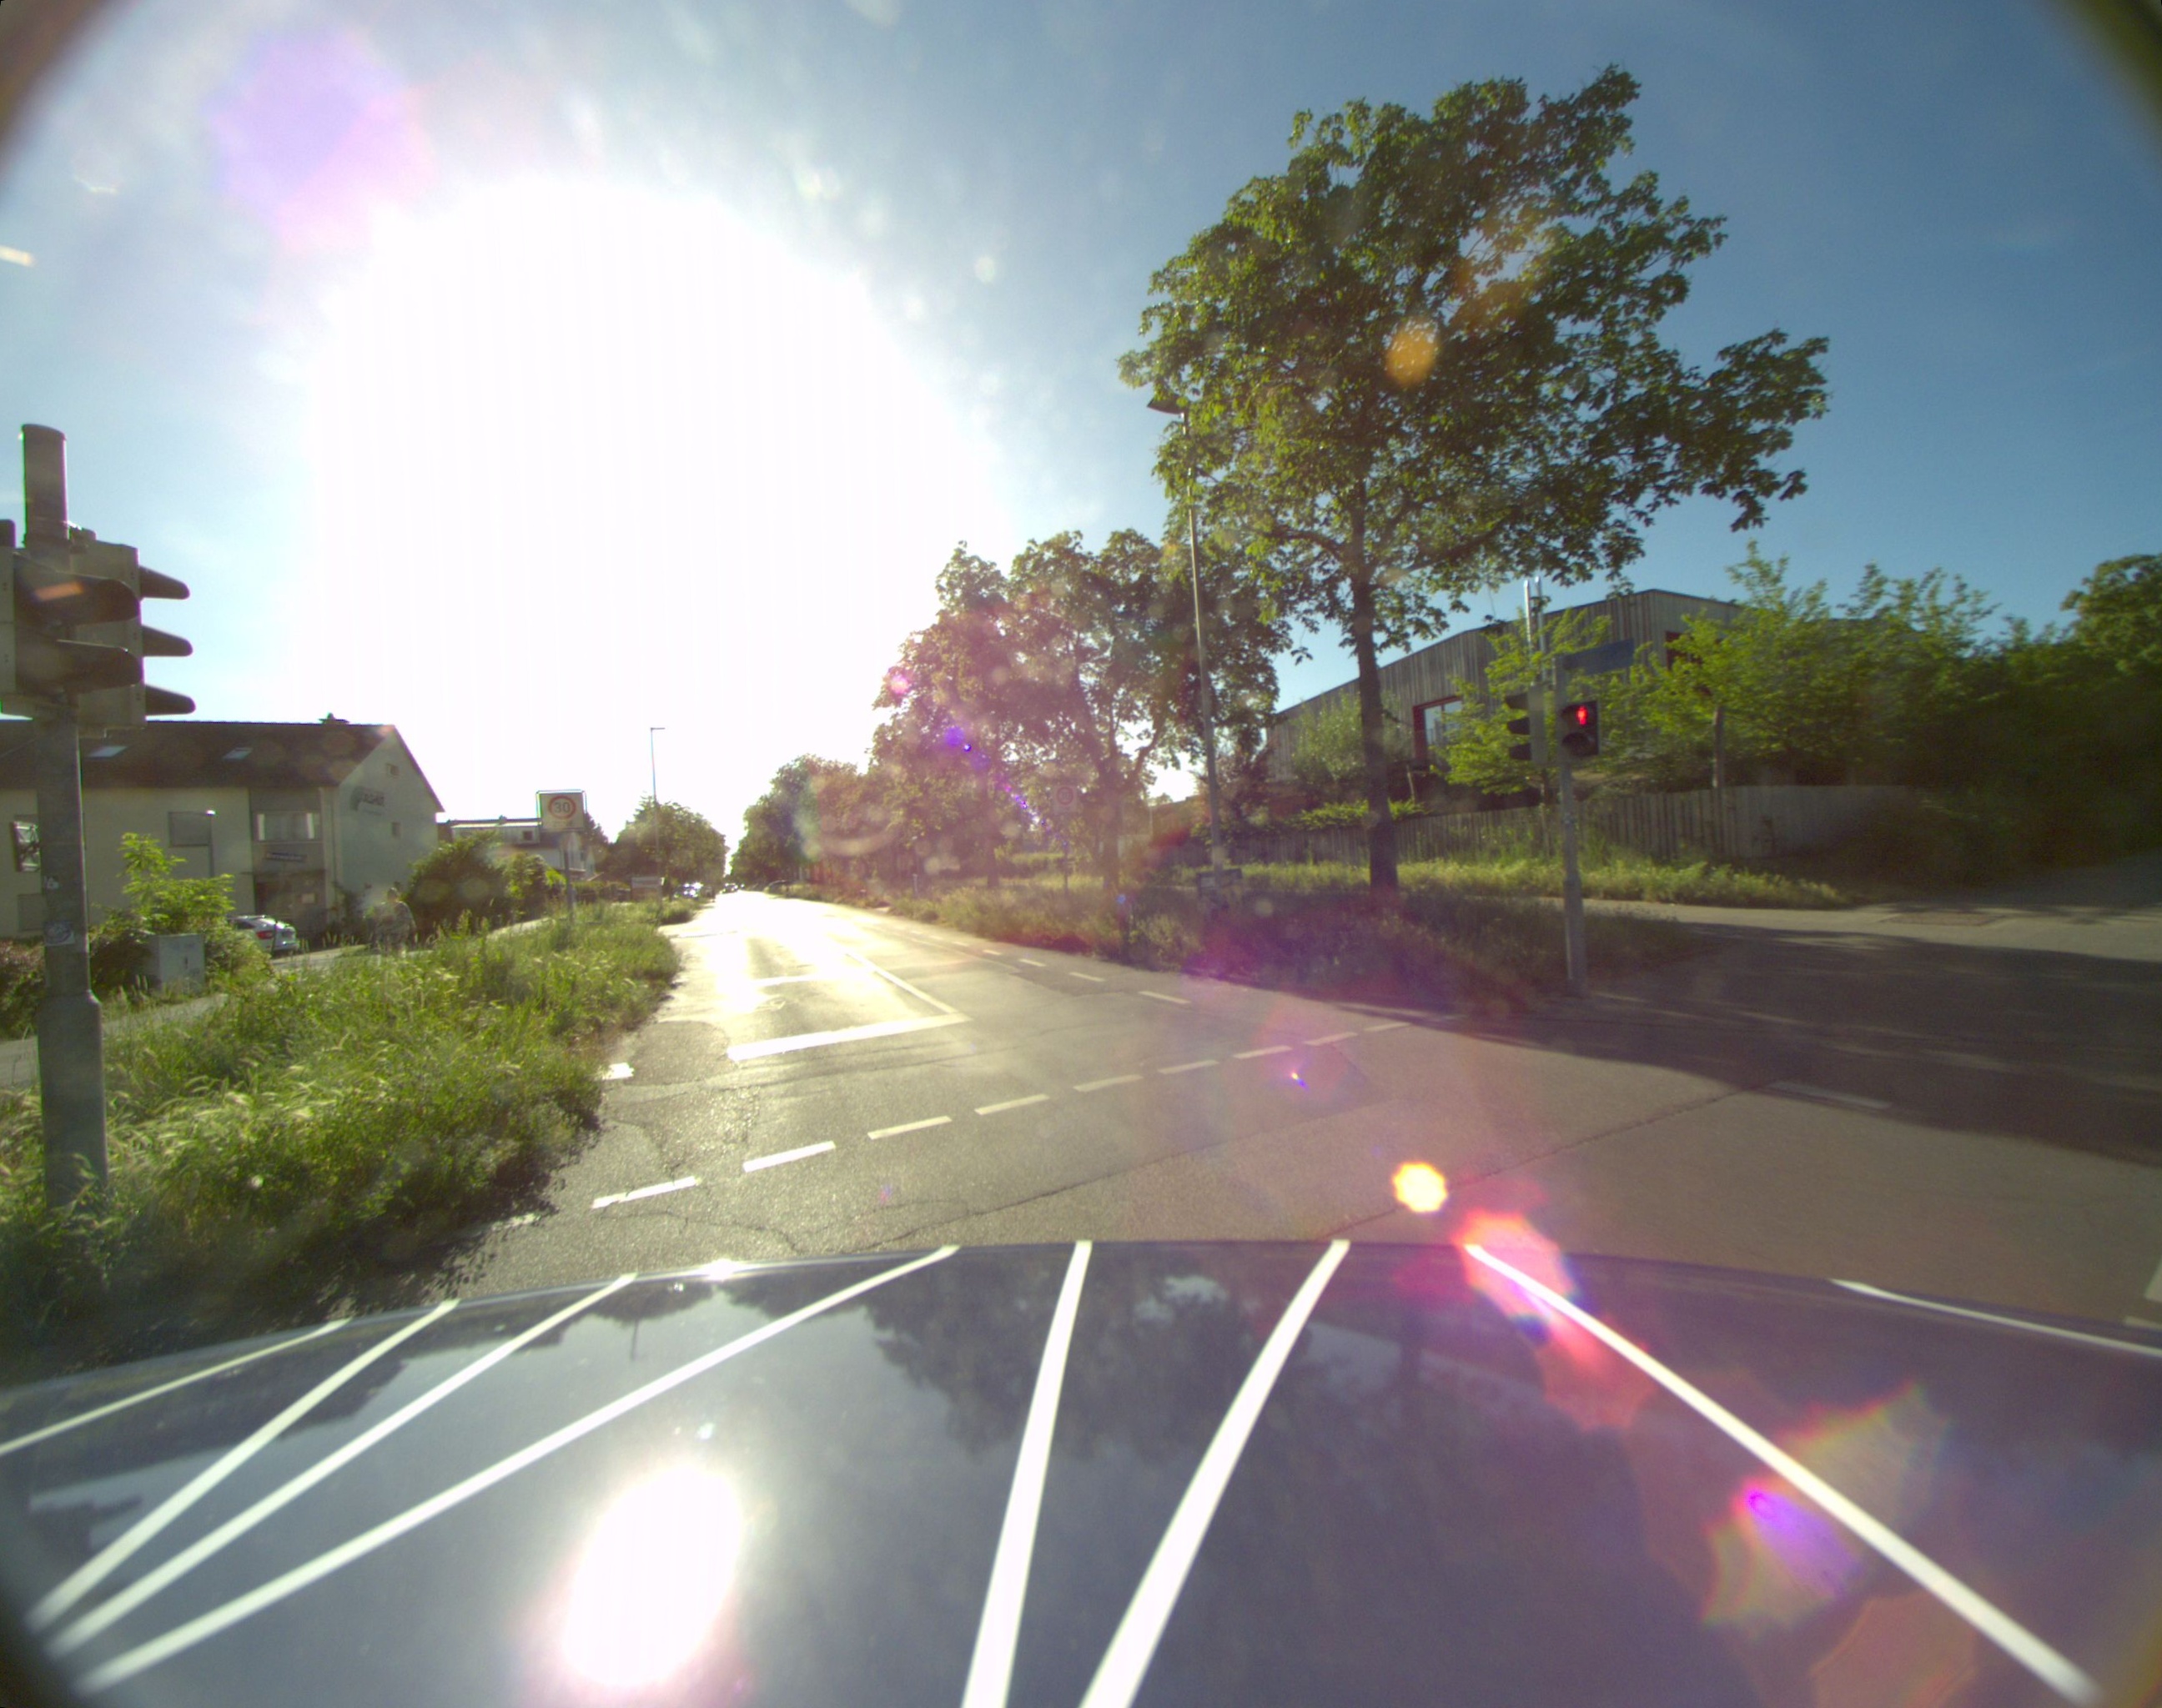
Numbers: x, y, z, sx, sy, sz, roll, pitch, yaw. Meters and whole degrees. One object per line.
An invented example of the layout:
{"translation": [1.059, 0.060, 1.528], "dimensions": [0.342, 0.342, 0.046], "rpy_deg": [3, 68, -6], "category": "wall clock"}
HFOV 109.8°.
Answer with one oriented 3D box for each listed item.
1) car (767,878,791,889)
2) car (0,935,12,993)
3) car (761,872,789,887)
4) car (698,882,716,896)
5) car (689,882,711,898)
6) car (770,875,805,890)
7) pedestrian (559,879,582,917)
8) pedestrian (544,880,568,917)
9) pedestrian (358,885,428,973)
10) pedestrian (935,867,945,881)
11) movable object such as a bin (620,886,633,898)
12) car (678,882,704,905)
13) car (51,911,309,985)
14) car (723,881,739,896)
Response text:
{"translation": [-57.289, 5.585, 144.037], "dimensions": [4.004, 1.740, 1.887], "rpy_deg": [-5, 1, -26], "category": "car"}
{"translation": [-29.860, 2.978, 18.527], "dimensions": [3.960, 1.493, 1.803], "rpy_deg": [-4, -1, -25], "category": "car"}
{"translation": [-64.055, 5.266, 159.149], "dimensions": [5.131, 2.597, 2.121], "rpy_deg": [-5, 1, -22], "category": "car"}
{"translation": [-44.648, 4.184, 90.755], "dimensions": [1.736, 1.473, 3.851], "rpy_deg": [-3, -1, -25], "category": "car"}
{"translation": [-40.752, 3.855, 81.359], "dimensions": [1.736, 1.568, 3.851], "rpy_deg": [-2, -1, -22], "category": "car"}
{"translation": [-39.130, 3.809, 101.289], "dimensions": [4.211, 1.552, 1.996], "rpy_deg": [-5, 0, -24], "category": "car"}
{"translation": [-24.449, 2.092, 36.379], "dimensions": [0.556, 1.722, 0.661], "rpy_deg": [-4, 1, -8], "category": "pedestrian"}
{"translation": [-25.045, 2.122, 36.278], "dimensions": [0.607, 1.722, 0.639], "rpy_deg": [-4, 1, -9], "category": "pedestrian"}
{"translation": [-15.222, 1.632, 16.839], "dimensions": [0.903, 1.811, 0.735], "rpy_deg": [-5, 1, -30], "category": "pedestrian"}
{"translation": [-12.295, 1.788, 66.374], "dimensions": [0.640, 1.151, 0.521], "rpy_deg": [-7, 2, -26], "category": "pedestrian"}
{"translation": [-52.012, 4.359, 86.949], "dimensions": [1.174, 1.286, 0.926], "rpy_deg": [-2, 0, -26], "category": "movable object such as a bin"}
{"translation": [-28.987, 2.900, 56.500], "dimensions": [1.499, 1.565, 3.594], "rpy_deg": [-4, 0, -25], "category": "car"}
{"translation": [-24.808, 2.545, 21.166], "dimensions": [4.212, 1.493, 1.803], "rpy_deg": [-4, -1, -25], "category": "car"}
{"translation": [-52.302, 5.160, 113.671], "dimensions": [2.002, 2.002, 3.992], "rpy_deg": [-5, 1, -25], "category": "car"}
